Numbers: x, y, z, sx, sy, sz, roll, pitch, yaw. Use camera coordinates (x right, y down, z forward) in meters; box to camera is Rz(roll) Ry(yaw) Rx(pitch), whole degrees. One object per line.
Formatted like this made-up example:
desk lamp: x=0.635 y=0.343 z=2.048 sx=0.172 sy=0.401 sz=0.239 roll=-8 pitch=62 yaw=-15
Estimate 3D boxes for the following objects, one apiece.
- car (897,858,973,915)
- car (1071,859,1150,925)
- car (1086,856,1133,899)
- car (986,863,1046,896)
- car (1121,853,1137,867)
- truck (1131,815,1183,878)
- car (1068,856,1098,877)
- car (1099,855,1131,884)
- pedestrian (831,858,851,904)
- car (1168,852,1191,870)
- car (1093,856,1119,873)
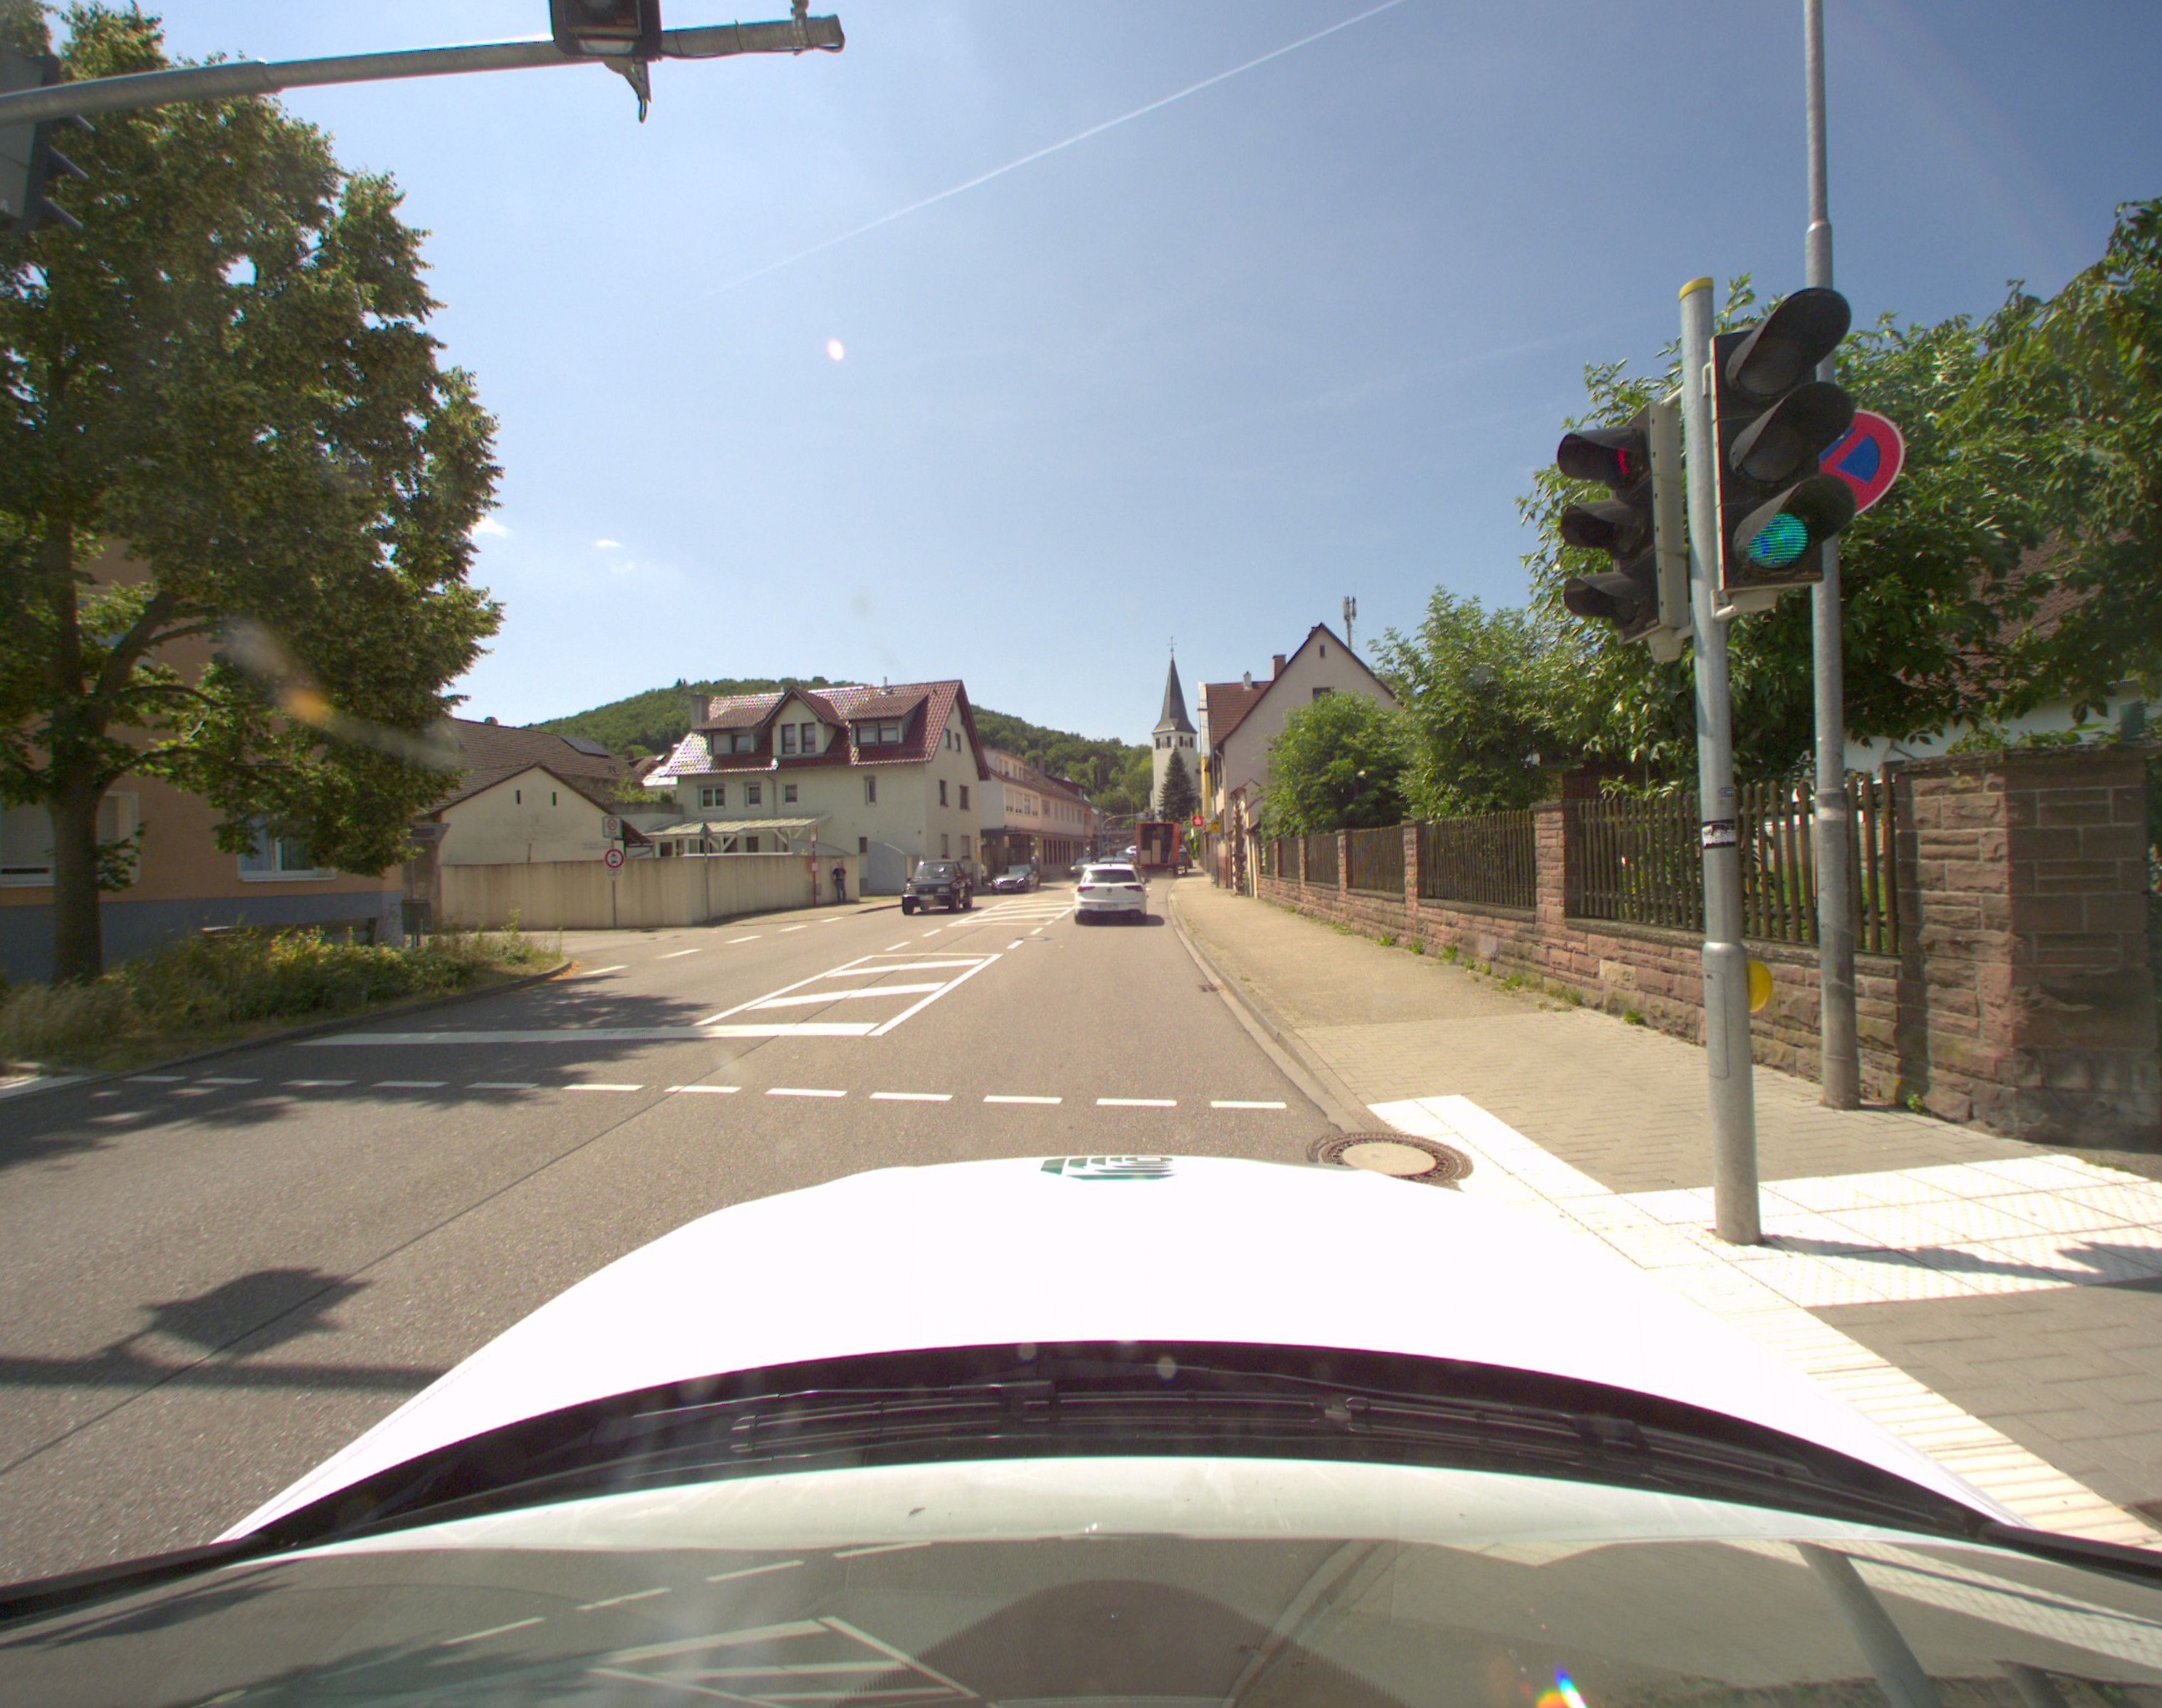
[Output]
car: x=-4.611 y=0.990 z=26.199 sx=1.733 sy=1.651 sz=3.667 roll=-2 pitch=0 yaw=-1
car: x=0.806 y=0.926 z=20.971 sx=1.807 sy=1.519 sz=4.003 roll=-1 pitch=-1 yaw=3
car: x=1.253 y=0.954 z=34.296 sx=1.807 sy=1.629 sz=4.003 roll=-3 pitch=-1 yaw=3
car: x=-3.219 y=1.251 z=41.148 sx=1.850 sy=1.442 sz=4.231 roll=-3 pitch=-1 yaw=12
car: x=6.839 y=0.862 z=116.028 sx=1.791 sy=1.780 sz=4.717 roll=-3 pitch=0 yaw=9
truck: x=5.762 y=-0.458 z=61.368 sx=3.350 sy=4.170 sz=9.534 roll=-3 pitch=-1 yaw=6
car: x=0.207 y=1.019 z=65.788 sx=1.785 sy=1.508 sz=4.142 roll=-3 pitch=-1 yaw=8
car: x=2.168 y=0.962 z=50.554 sx=1.807 sy=1.629 sz=4.003 roll=-3 pitch=-1 yaw=3
pedestrian: x=-9.485 y=1.072 z=32.166 sx=0.430 sy=1.764 sz=0.560 roll=-2 pitch=-1 yaw=22
car: x=9.169 y=0.655 z=76.248 sx=1.807 sy=1.519 sz=4.003 roll=-3 pitch=-1 yaw=3
car: x=2.475 y=0.990 z=78.938 sx=1.782 sy=1.493 sz=4.435 roll=-3 pitch=-1 yaw=11
